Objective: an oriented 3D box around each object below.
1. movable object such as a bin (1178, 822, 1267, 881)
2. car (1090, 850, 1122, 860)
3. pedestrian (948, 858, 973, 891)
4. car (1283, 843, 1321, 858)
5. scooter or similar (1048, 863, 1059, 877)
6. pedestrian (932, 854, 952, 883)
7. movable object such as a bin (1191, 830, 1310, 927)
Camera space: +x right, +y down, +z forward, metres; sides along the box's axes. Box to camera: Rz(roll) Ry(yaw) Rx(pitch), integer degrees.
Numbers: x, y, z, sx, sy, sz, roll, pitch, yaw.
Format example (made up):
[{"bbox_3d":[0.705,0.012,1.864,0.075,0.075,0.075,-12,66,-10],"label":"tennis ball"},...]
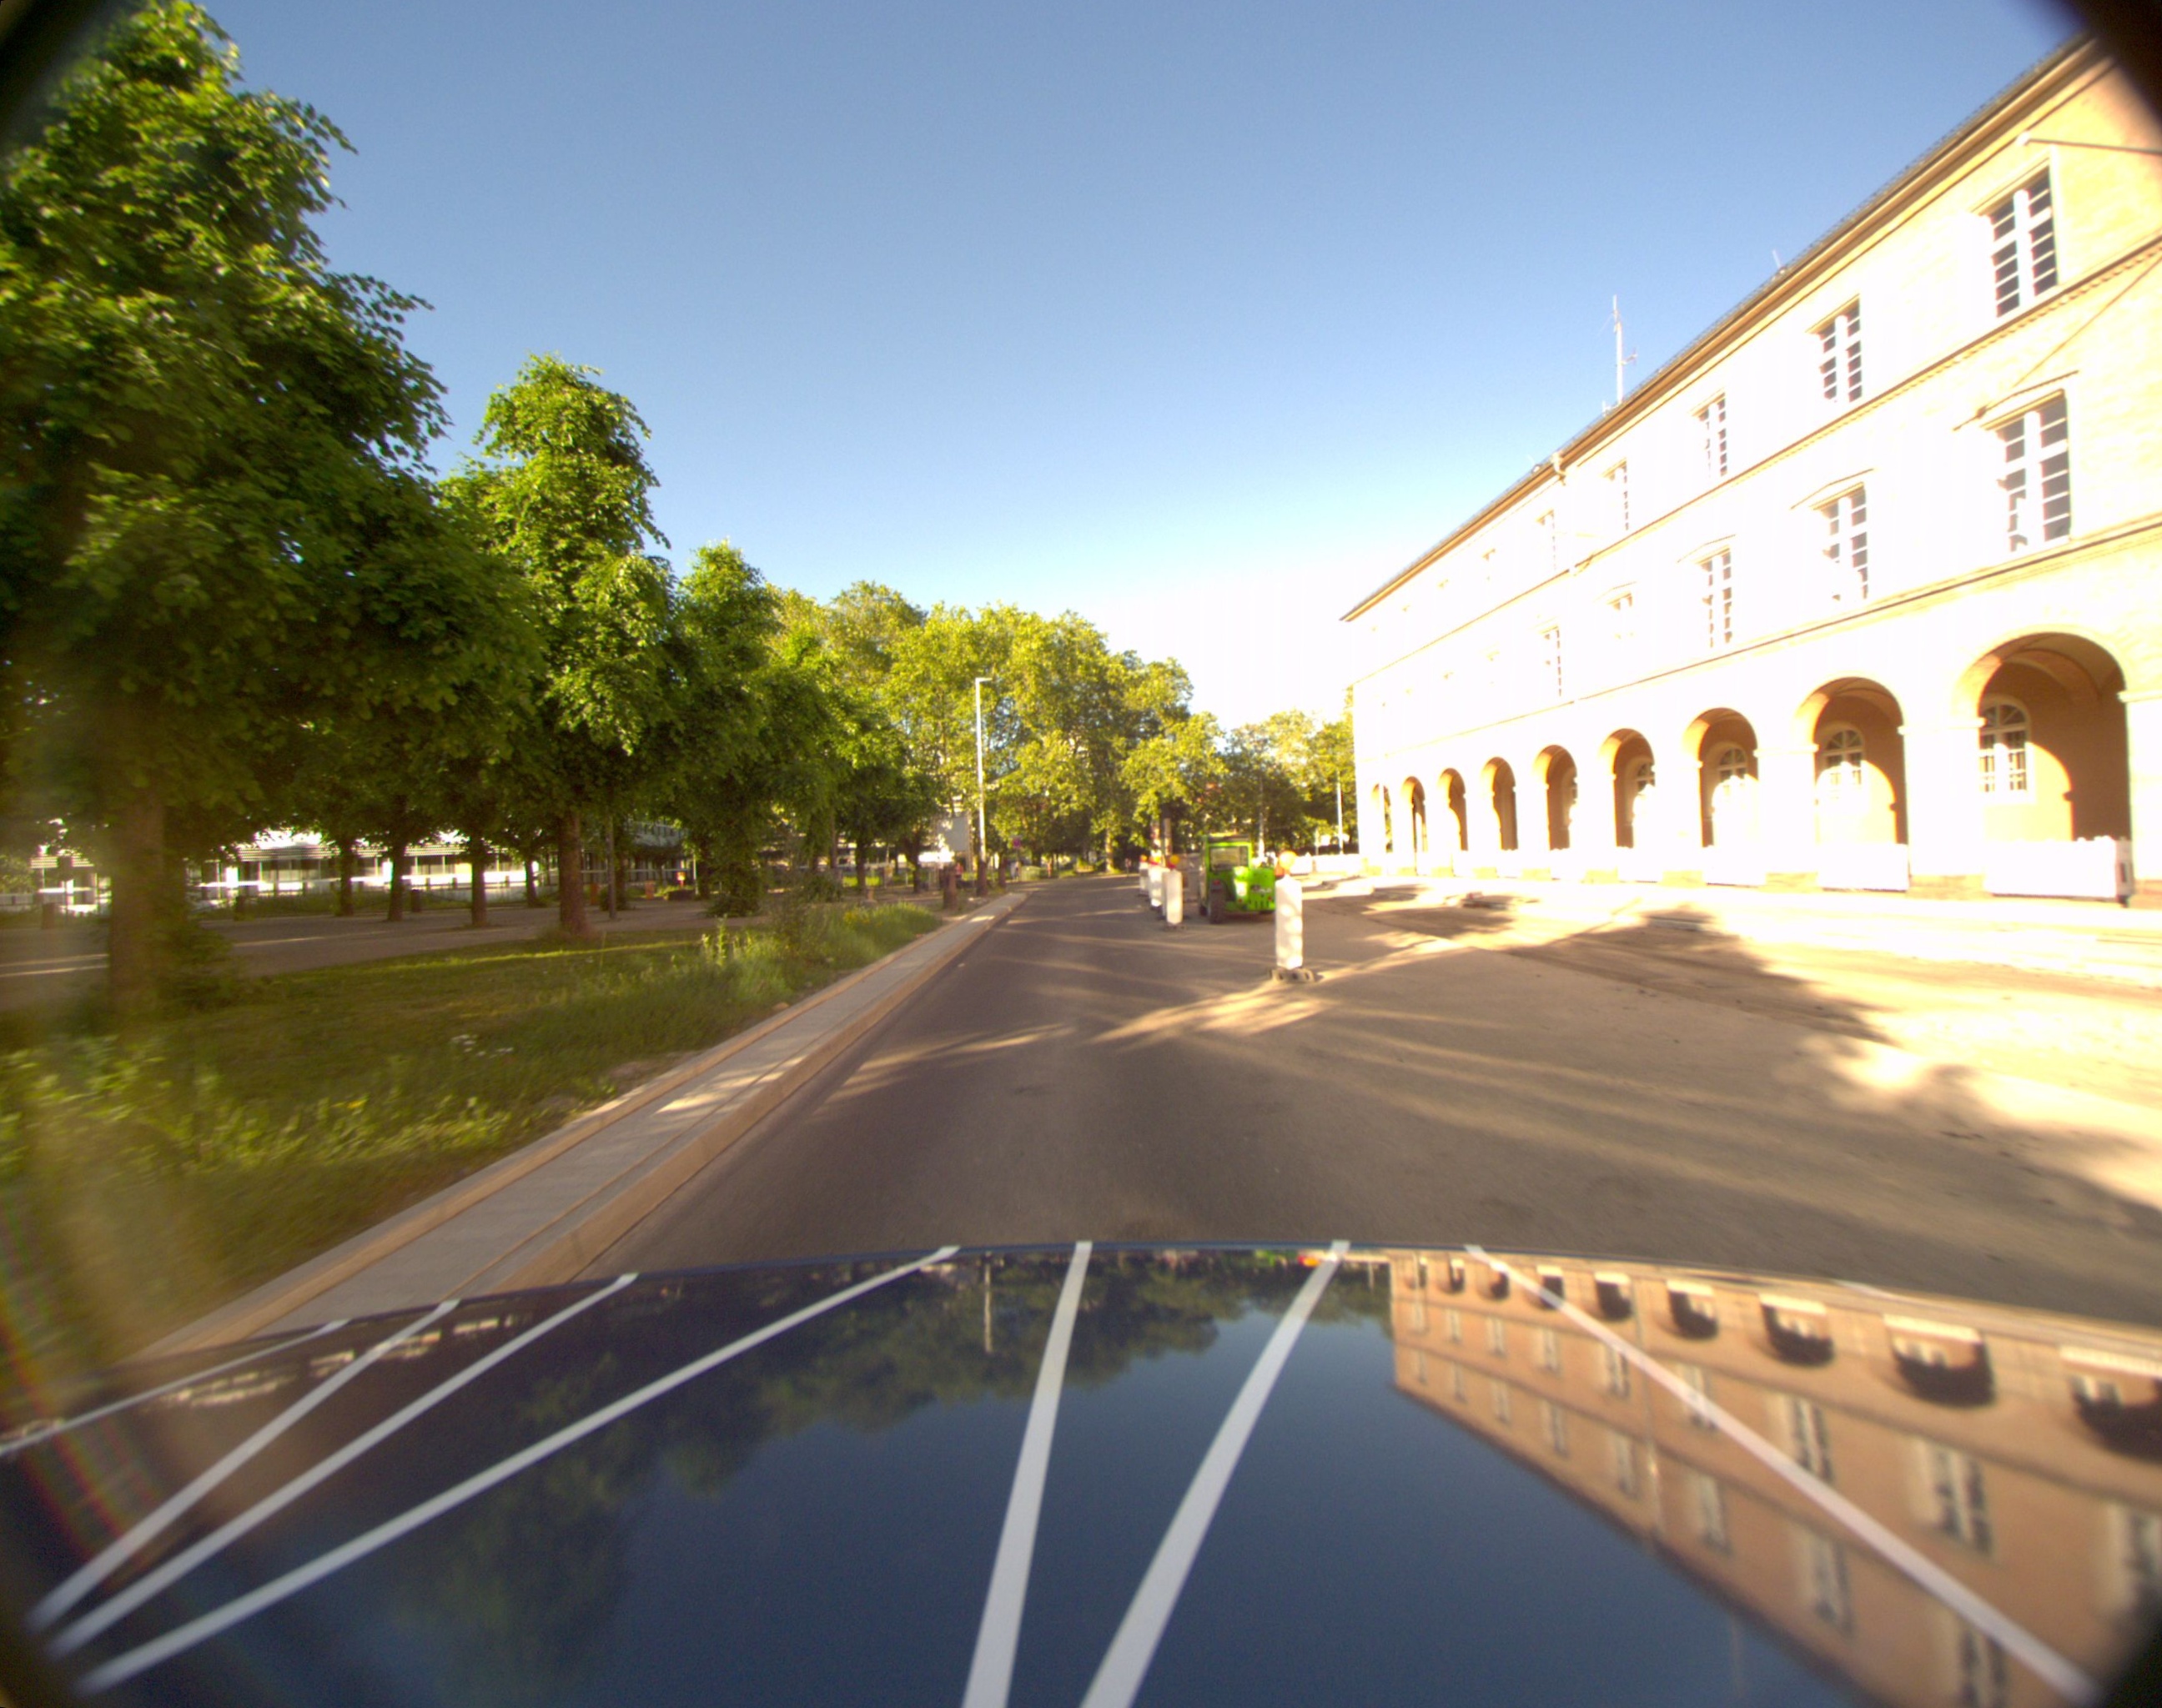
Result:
[{"bbox_3d":[7.954,-0.178,42.280,2.560,3.014,5.942,-1,1,35],"label":"movable object such as a bin"},{"bbox_3d":[3.945,0.163,119.125,4.657,1.466,2.013,-2,-1,-9],"label":"car"},{"bbox_3d":[-6.191,1.047,39.106,0.941,1.614,0.709,-3,1,-40],"label":"pedestrian"},{"bbox_3d":[25.691,-0.373,88.413,4.000,1.616,1.552,-2,-1,-9],"label":"car"},{"bbox_3d":[-1.876,1.063,51.294,0.420,0.909,1.148,-3,2,-16],"label":"scooter or similar"},{"bbox_3d":[-8.922,0.919,48.802,1.134,1.801,0.747,-2,-1,-13],"label":"pedestrian"},{"bbox_3d":[3.823,0.544,17.898,2.054,1.937,4.336,-2,-1,4],"label":"movable object such as a bin"}]
